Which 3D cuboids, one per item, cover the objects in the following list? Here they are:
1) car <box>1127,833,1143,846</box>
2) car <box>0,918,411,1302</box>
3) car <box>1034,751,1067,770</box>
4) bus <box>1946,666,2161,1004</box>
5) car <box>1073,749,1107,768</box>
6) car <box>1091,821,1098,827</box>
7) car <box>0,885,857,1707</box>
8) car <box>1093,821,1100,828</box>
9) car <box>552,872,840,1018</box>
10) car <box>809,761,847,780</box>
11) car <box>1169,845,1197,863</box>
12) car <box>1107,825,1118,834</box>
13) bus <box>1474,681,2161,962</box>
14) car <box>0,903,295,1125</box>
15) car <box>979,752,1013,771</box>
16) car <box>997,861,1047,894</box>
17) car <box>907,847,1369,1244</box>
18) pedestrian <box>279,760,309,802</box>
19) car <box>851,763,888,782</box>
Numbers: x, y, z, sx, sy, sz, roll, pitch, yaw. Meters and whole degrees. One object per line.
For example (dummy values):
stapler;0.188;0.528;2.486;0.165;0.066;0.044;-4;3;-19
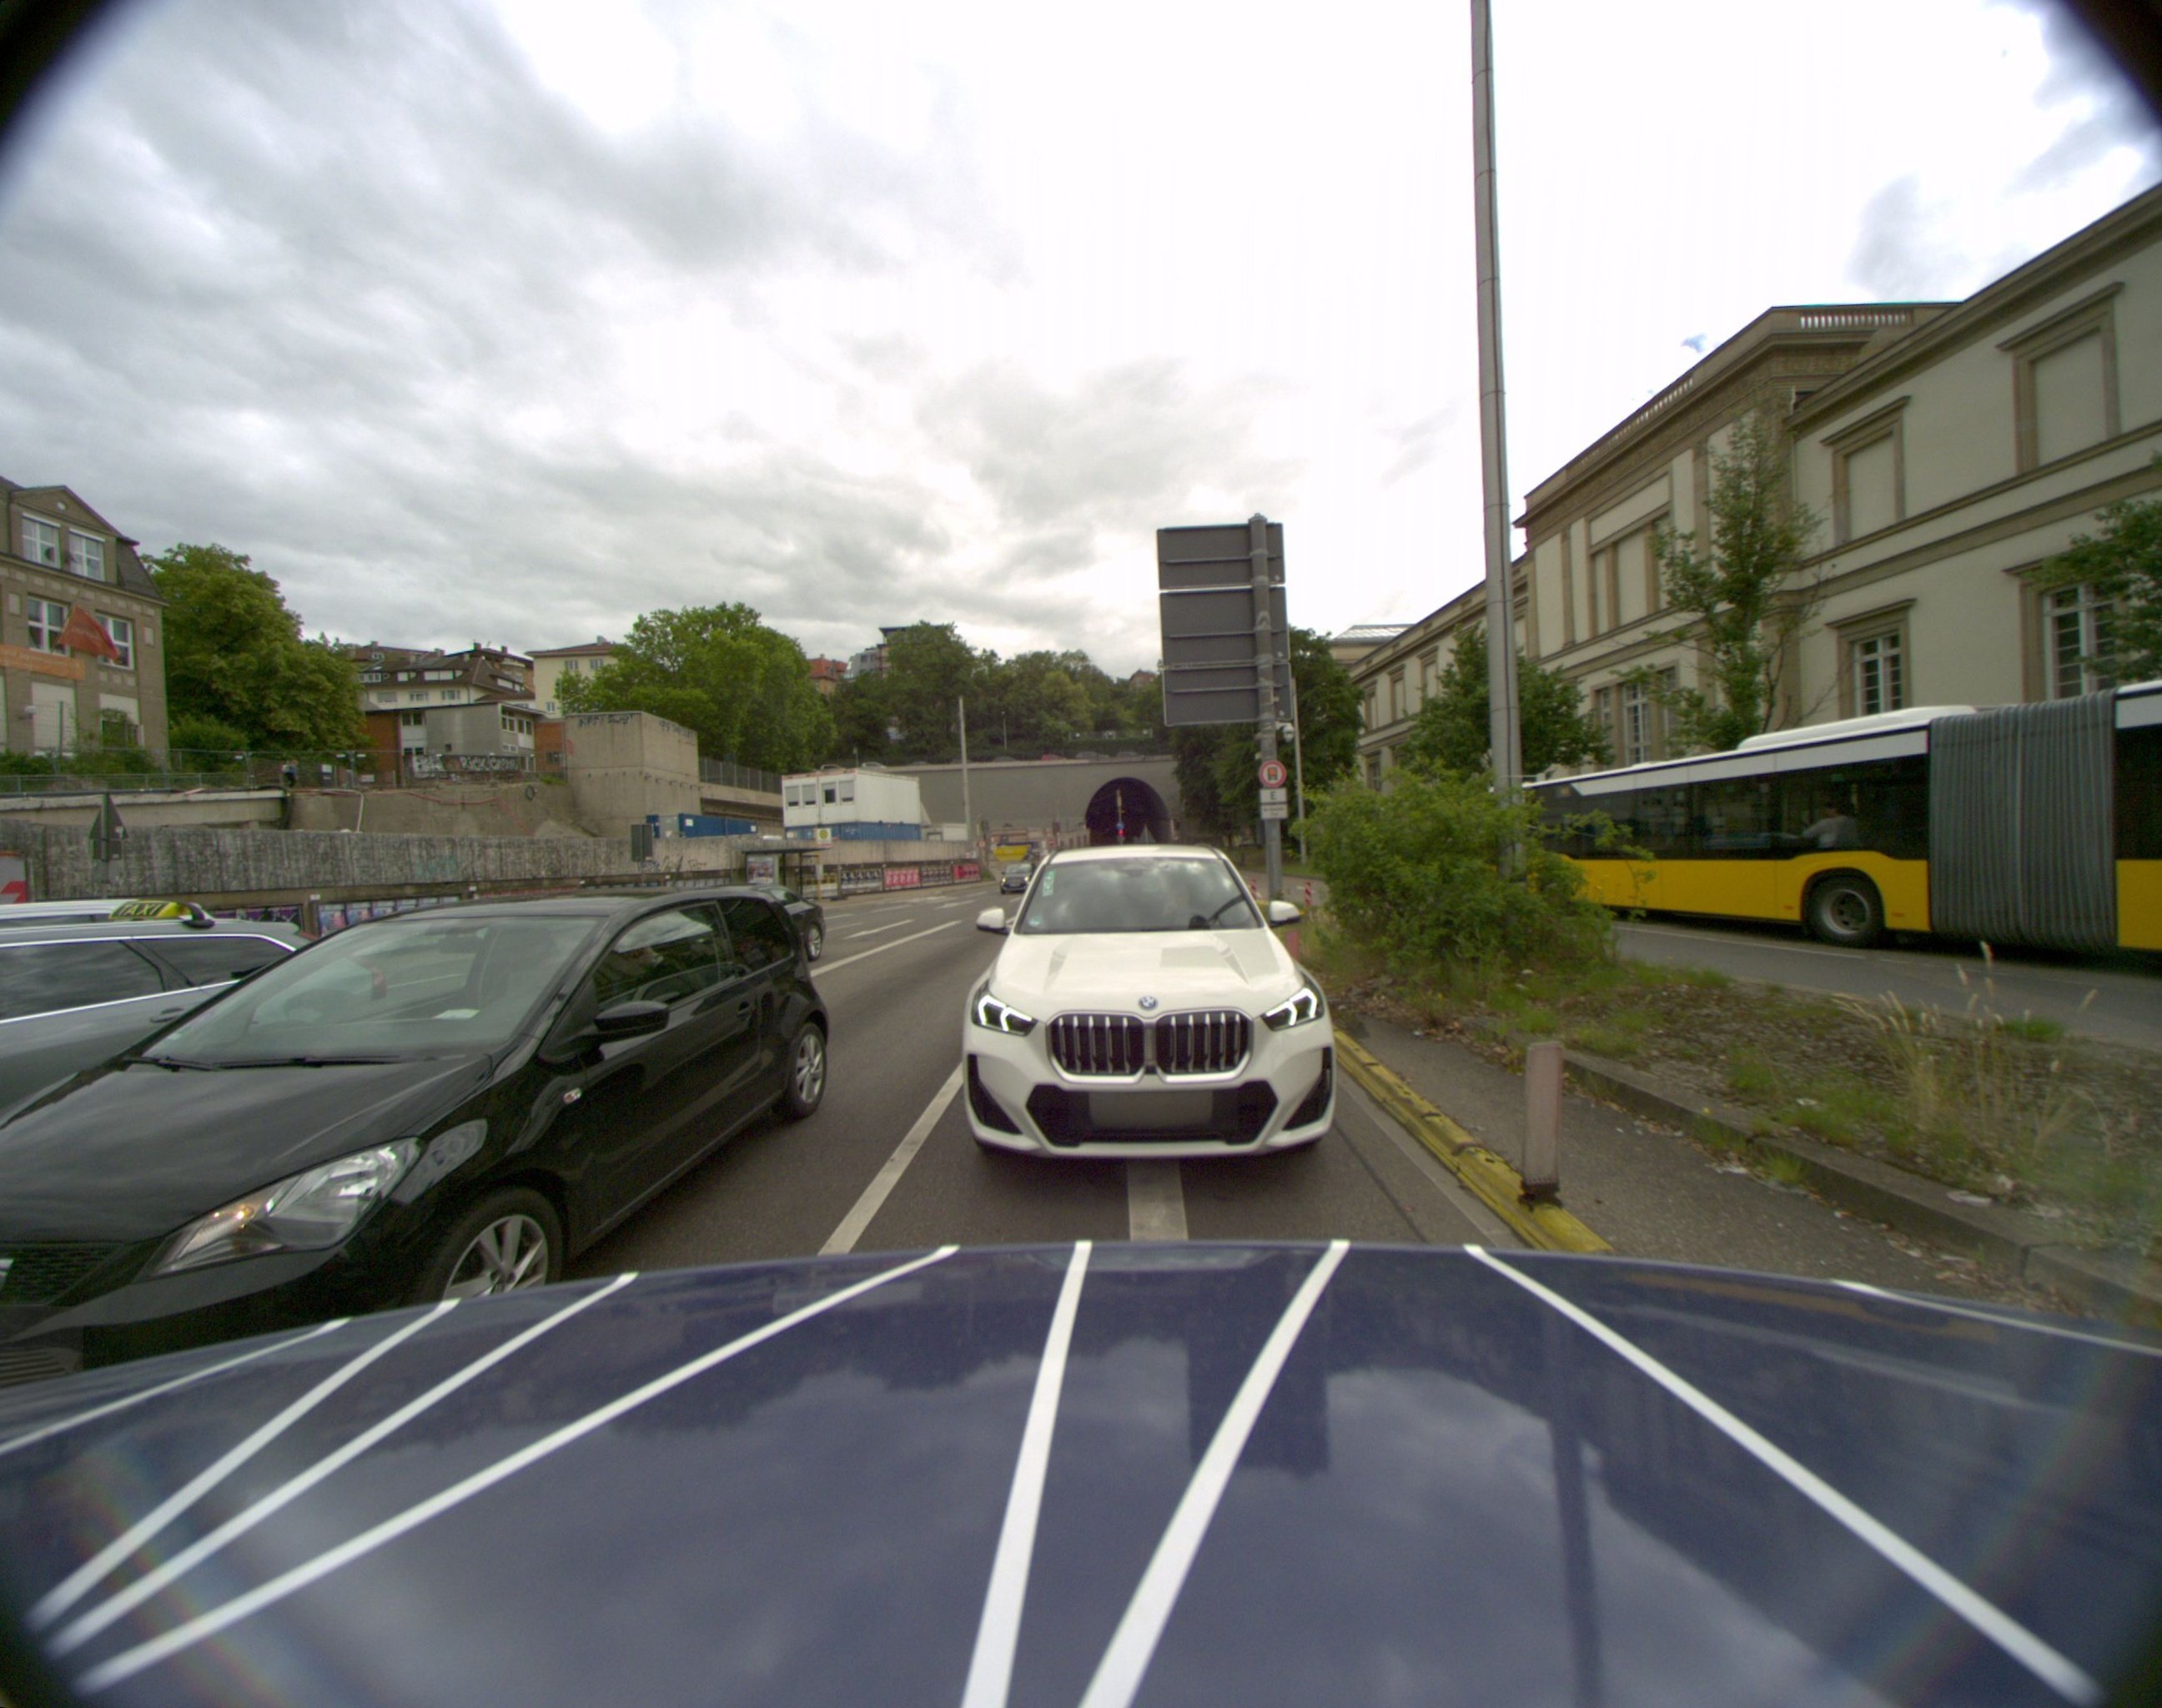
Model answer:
car;7.130;-1.861;100.555;1.701;1.580;3.882;-3;0;-1
car;-5.869;1.298;3.154;1.826;1.562;4.654;-3;0;3
car;-3.765;-11.630;94.392;3.998;2.002;1.999;-2;1;-2
bus;11.346;-0.227;4.114;2.853;3.096;9.121;-3;0;0
car;1.113;-11.809;94.476;3.998;2.002;1.999;-2;1;-2
car;4.003;-8.986;224.797;1.711;1.505;4.288;-3;0;-1
car;-2.503;1.006;3.399;1.667;1.487;3.882;-3;0;2
car;4.238;-8.002;205.840;1.667;1.582;3.882;-1;0;2
car;-5.394;1.166;11.483;1.704;1.550;4.552;-3;0;4
car;-31.052;-10.240;93.302;3.998;2.002;1.999;-2;1;-5
car;9.174;-0.024;68.624;1.705;1.463;4.629;-3;0;-1
car;6.031;-4.728;146.310;1.711;1.505;4.287;0;0;-3
bus;11.168;-0.382;13.579;2.853;3.096;9.746;-3;0;-2
car;-9.176;1.344;5.602;1.704;1.550;4.552;-3;0;6
car;-10.472;-11.381;93.998;3.998;2.002;1.999;-2;1;-2
car;-2.894;1.122;38.002;1.730;1.435;4.001;-3;0;5
car;0.297;0.802;5.109;1.848;1.581;3.882;-3;0;2
pedestrian;-38.652;-3.564;37.310;0.646;2.002;0.666;-2;1;-3
car;-26.003;-10.053;93.365;3.998;2.002;1.999;-2;1;-5
